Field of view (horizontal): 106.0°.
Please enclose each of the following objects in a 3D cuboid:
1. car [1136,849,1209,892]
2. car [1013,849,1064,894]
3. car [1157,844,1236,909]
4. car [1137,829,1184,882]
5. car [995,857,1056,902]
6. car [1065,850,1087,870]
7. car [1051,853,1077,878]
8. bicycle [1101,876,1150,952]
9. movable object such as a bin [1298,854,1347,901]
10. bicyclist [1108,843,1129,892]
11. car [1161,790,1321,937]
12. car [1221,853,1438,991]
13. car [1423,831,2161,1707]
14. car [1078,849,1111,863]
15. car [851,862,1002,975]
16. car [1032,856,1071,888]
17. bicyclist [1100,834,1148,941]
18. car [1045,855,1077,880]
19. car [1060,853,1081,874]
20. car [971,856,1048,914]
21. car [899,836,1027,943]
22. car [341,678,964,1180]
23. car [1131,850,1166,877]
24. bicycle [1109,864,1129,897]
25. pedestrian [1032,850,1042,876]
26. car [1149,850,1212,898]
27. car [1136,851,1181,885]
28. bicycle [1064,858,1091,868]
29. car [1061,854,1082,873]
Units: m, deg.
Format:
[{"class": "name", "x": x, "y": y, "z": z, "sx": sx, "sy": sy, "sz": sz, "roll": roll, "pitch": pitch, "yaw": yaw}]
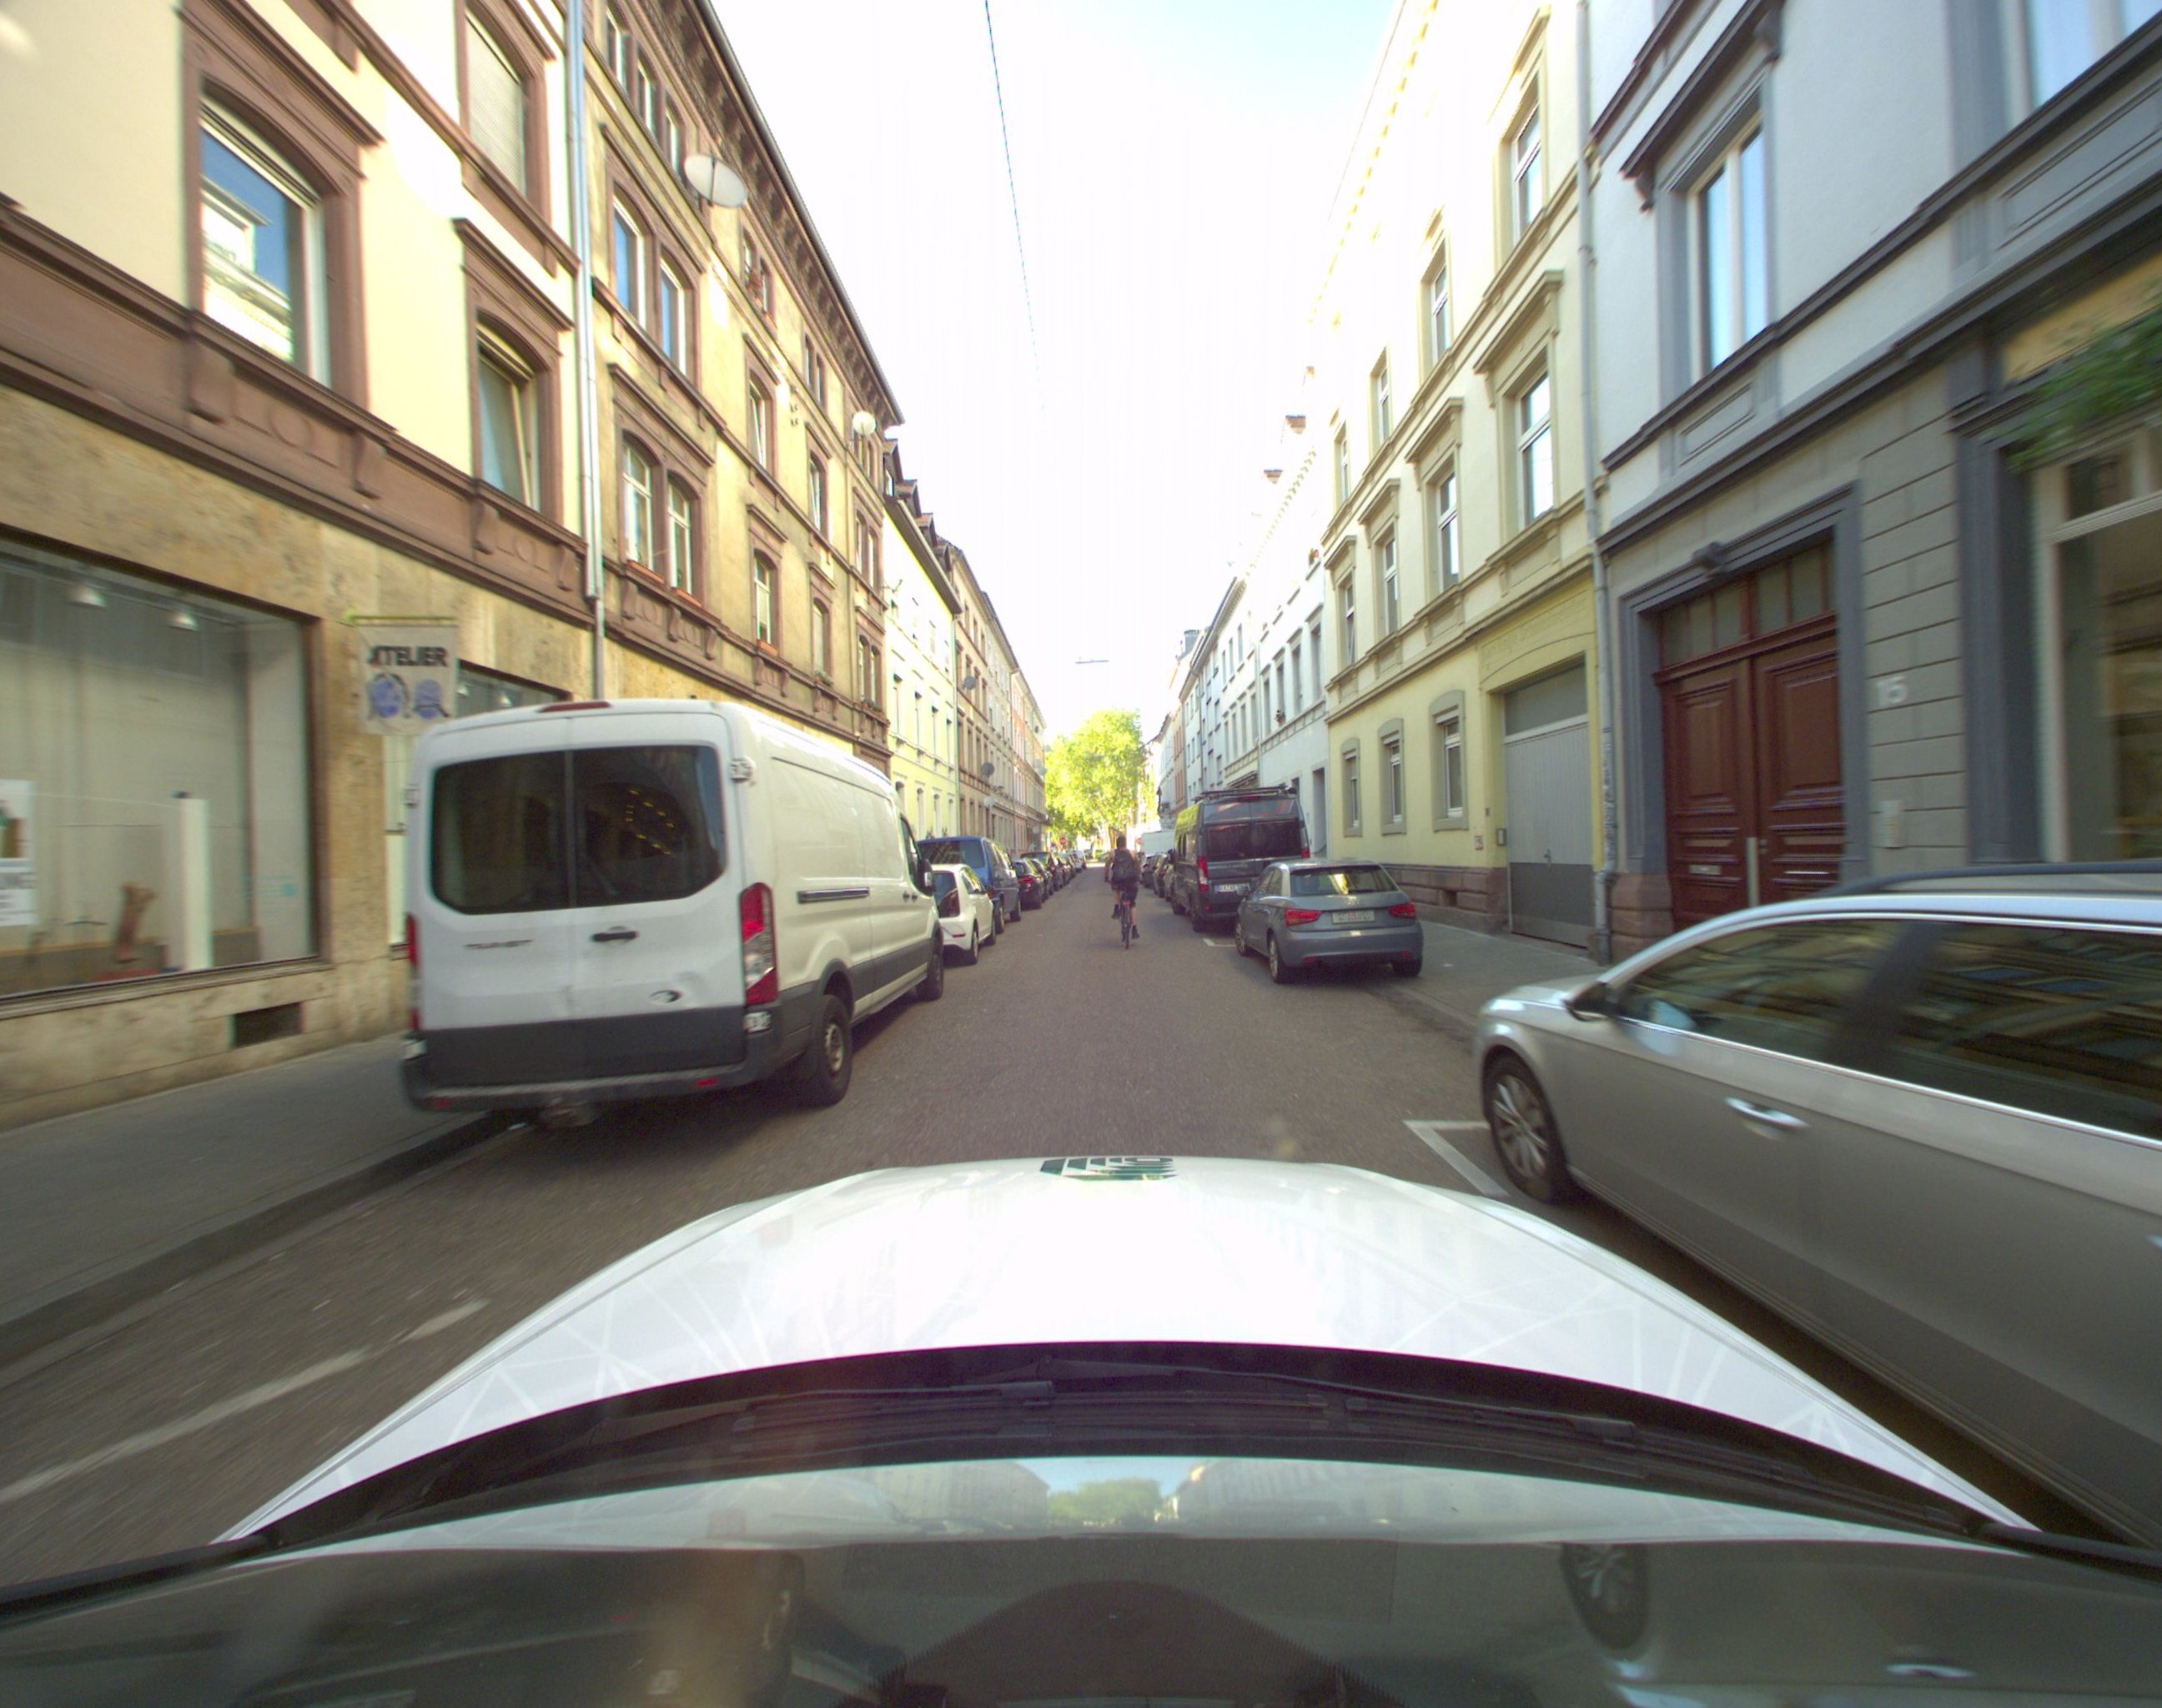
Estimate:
[{"class": "car", "x": 3.632, "y": 0.618, "z": 33.314, "sx": 1.810, "sy": 1.478, "sz": 4.596, "roll": -5, "pitch": 1, "yaw": -8}, {"class": "car", "x": -1.789, "y": 0.715, "z": 35.525, "sx": 1.794, "sy": 1.698, "sz": 4.002, "roll": -5, "pitch": 0, "yaw": 2}, {"class": "car", "x": 3.271, "y": 0.586, "z": 23.781, "sx": 1.687, "sy": 1.608, "sz": 4.376, "roll": -4, "pitch": 0, "yaw": 1}, {"class": "car", "x": 4.187, "y": 0.053, "z": 43.805, "sx": 2.195, "sy": 2.550, "sz": 6.042, "roll": -3, "pitch": 0, "yaw": 4}, {"class": "car", "x": -1.945, "y": 0.865, "z": 29.565, "sx": 1.730, "sy": 1.427, "sz": 4.002, "roll": -3, "pitch": 0, "yaw": 2}, {"class": "car", "x": -0.421, "y": 0.532, "z": 75.073, "sx": 1.781, "sy": 1.737, "sz": 3.877, "roll": -3, "pitch": 0, "yaw": 1}, {"class": "car", "x": -1.110, "y": 0.751, "z": 55.498, "sx": 1.600, "sy": 1.530, "sz": 3.378, "roll": -4, "pitch": 0, "yaw": 0}, {"class": "bicycle", "x": 0.712, "y": 0.947, "z": 13.483, "sx": 0.737, "sy": 1.100, "sz": 2.043, "roll": -1, "pitch": 0, "yaw": 1}, {"class": "movable object such as a bin", "x": 5.776, "y": 0.554, "z": 19.512, "sx": 0.860, "sy": 1.042, "sz": 0.708, "roll": -5, "pitch": 0, "yaw": -1}, {"class": "bicyclist", "x": 1.309, "y": 0.474, "z": 28.690, "sx": 0.667, "sy": 1.658, "sz": 0.877, "roll": -3, "pitch": 0, "yaw": 2}, {"class": "car", "x": 3.081, "y": 0.155, "z": 17.304, "sx": 2.167, "sy": 2.425, "sz": 6.311, "roll": -4, "pitch": 0, "yaw": 1}, {"class": "car", "x": 3.071, "y": 0.744, "z": 10.976, "sx": 1.741, "sy": 1.444, "sz": 4.174, "roll": -2, "pitch": 0, "yaw": 2}, {"class": "car", "x": 2.733, "y": 0.730, "z": 2.080, "sx": 1.780, "sy": 1.454, "sz": 4.548, "roll": -5, "pitch": 0, "yaw": 1}, {"class": "car", "x": 1.834, "y": 0.224, "z": 114.374, "sx": 4.459, "sy": 1.759, "sz": 1.864, "roll": -3, "pitch": 0, "yaw": -3}, {"class": "car", "x": -2.329, "y": 0.911, "z": 13.213, "sx": 1.640, "sy": 1.447, "sz": 3.839, "roll": -3, "pitch": 0, "yaw": 0}, {"class": "car", "x": -1.436, "y": 0.856, "z": 40.500, "sx": 1.585, "sy": 1.440, "sz": 3.656, "roll": -3, "pitch": 0, "yaw": 3}, {"class": "bicyclist", "x": 0.688, "y": 0.532, "z": 13.416, "sx": 0.737, "sy": 1.679, "sz": 1.117, "roll": -1, "pitch": 0, "yaw": 1}, {"class": "car", "x": -1.205, "y": 0.819, "z": 50.537, "sx": 1.700, "sy": 1.414, "sz": 4.304, "roll": -3, "pitch": 0, "yaw": 2}, {"class": "car", "x": -0.807, "y": 0.707, "z": 62.871, "sx": 1.540, "sy": 1.550, "sz": 3.463, "roll": -3, "pitch": 0, "yaw": -1}, {"class": "car", "x": -2.051, "y": 0.851, "z": 24.503, "sx": 1.856, "sy": 1.440, "sz": 4.644, "roll": -3, "pitch": 1, "yaw": 0}, {"class": "car", "x": -2.399, "y": 0.663, "z": 17.813, "sx": 1.820, "sy": 1.891, "sz": 4.616, "roll": -5, "pitch": 0, "yaw": 2}, {"class": "car", "x": -2.629, "y": 0.374, "z": 7.161, "sx": 2.161, "sy": 2.452, "sz": 5.921, "roll": -4, "pitch": 0, "yaw": 0}, {"class": "car", "x": 4.111, "y": 0.560, "z": 50.340, "sx": 1.726, "sy": 1.470, "sz": 4.019, "roll": -3, "pitch": 0, "yaw": -1}, {"class": "bicycle", "x": 1.327, "y": 0.918, "z": 28.743, "sx": 0.661, "sy": 1.037, "sz": 1.959, "roll": -3, "pitch": 0, "yaw": 2}, {"class": "pedestrian", "x": -3.108, "y": 0.616, "z": 57.253, "sx": 0.608, "sy": 1.858, "sz": 0.754, "roll": 0, "pitch": 0, "yaw": 1}, {"class": "car", "x": 3.399, "y": 0.652, "z": 28.533, "sx": 1.740, "sy": 1.485, "sz": 4.244, "roll": -3, "pitch": 0, "yaw": 1}, {"class": "car", "x": 3.593, "y": 0.627, "z": 38.370, "sx": 1.719, "sy": 1.429, "sz": 3.832, "roll": -3, "pitch": 0, "yaw": 0}, {"class": "bicycle", "x": -0.381, "y": 0.957, "z": 84.560, "sx": 2.708, "sy": 0.892, "sz": 0.618, "roll": -3, "pitch": 0, "yaw": -1}, {"class": "car", "x": -0.724, "y": 0.764, "z": 66.636, "sx": 1.547, "sy": 1.399, "sz": 3.669, "roll": -3, "pitch": 0, "yaw": 1}]
